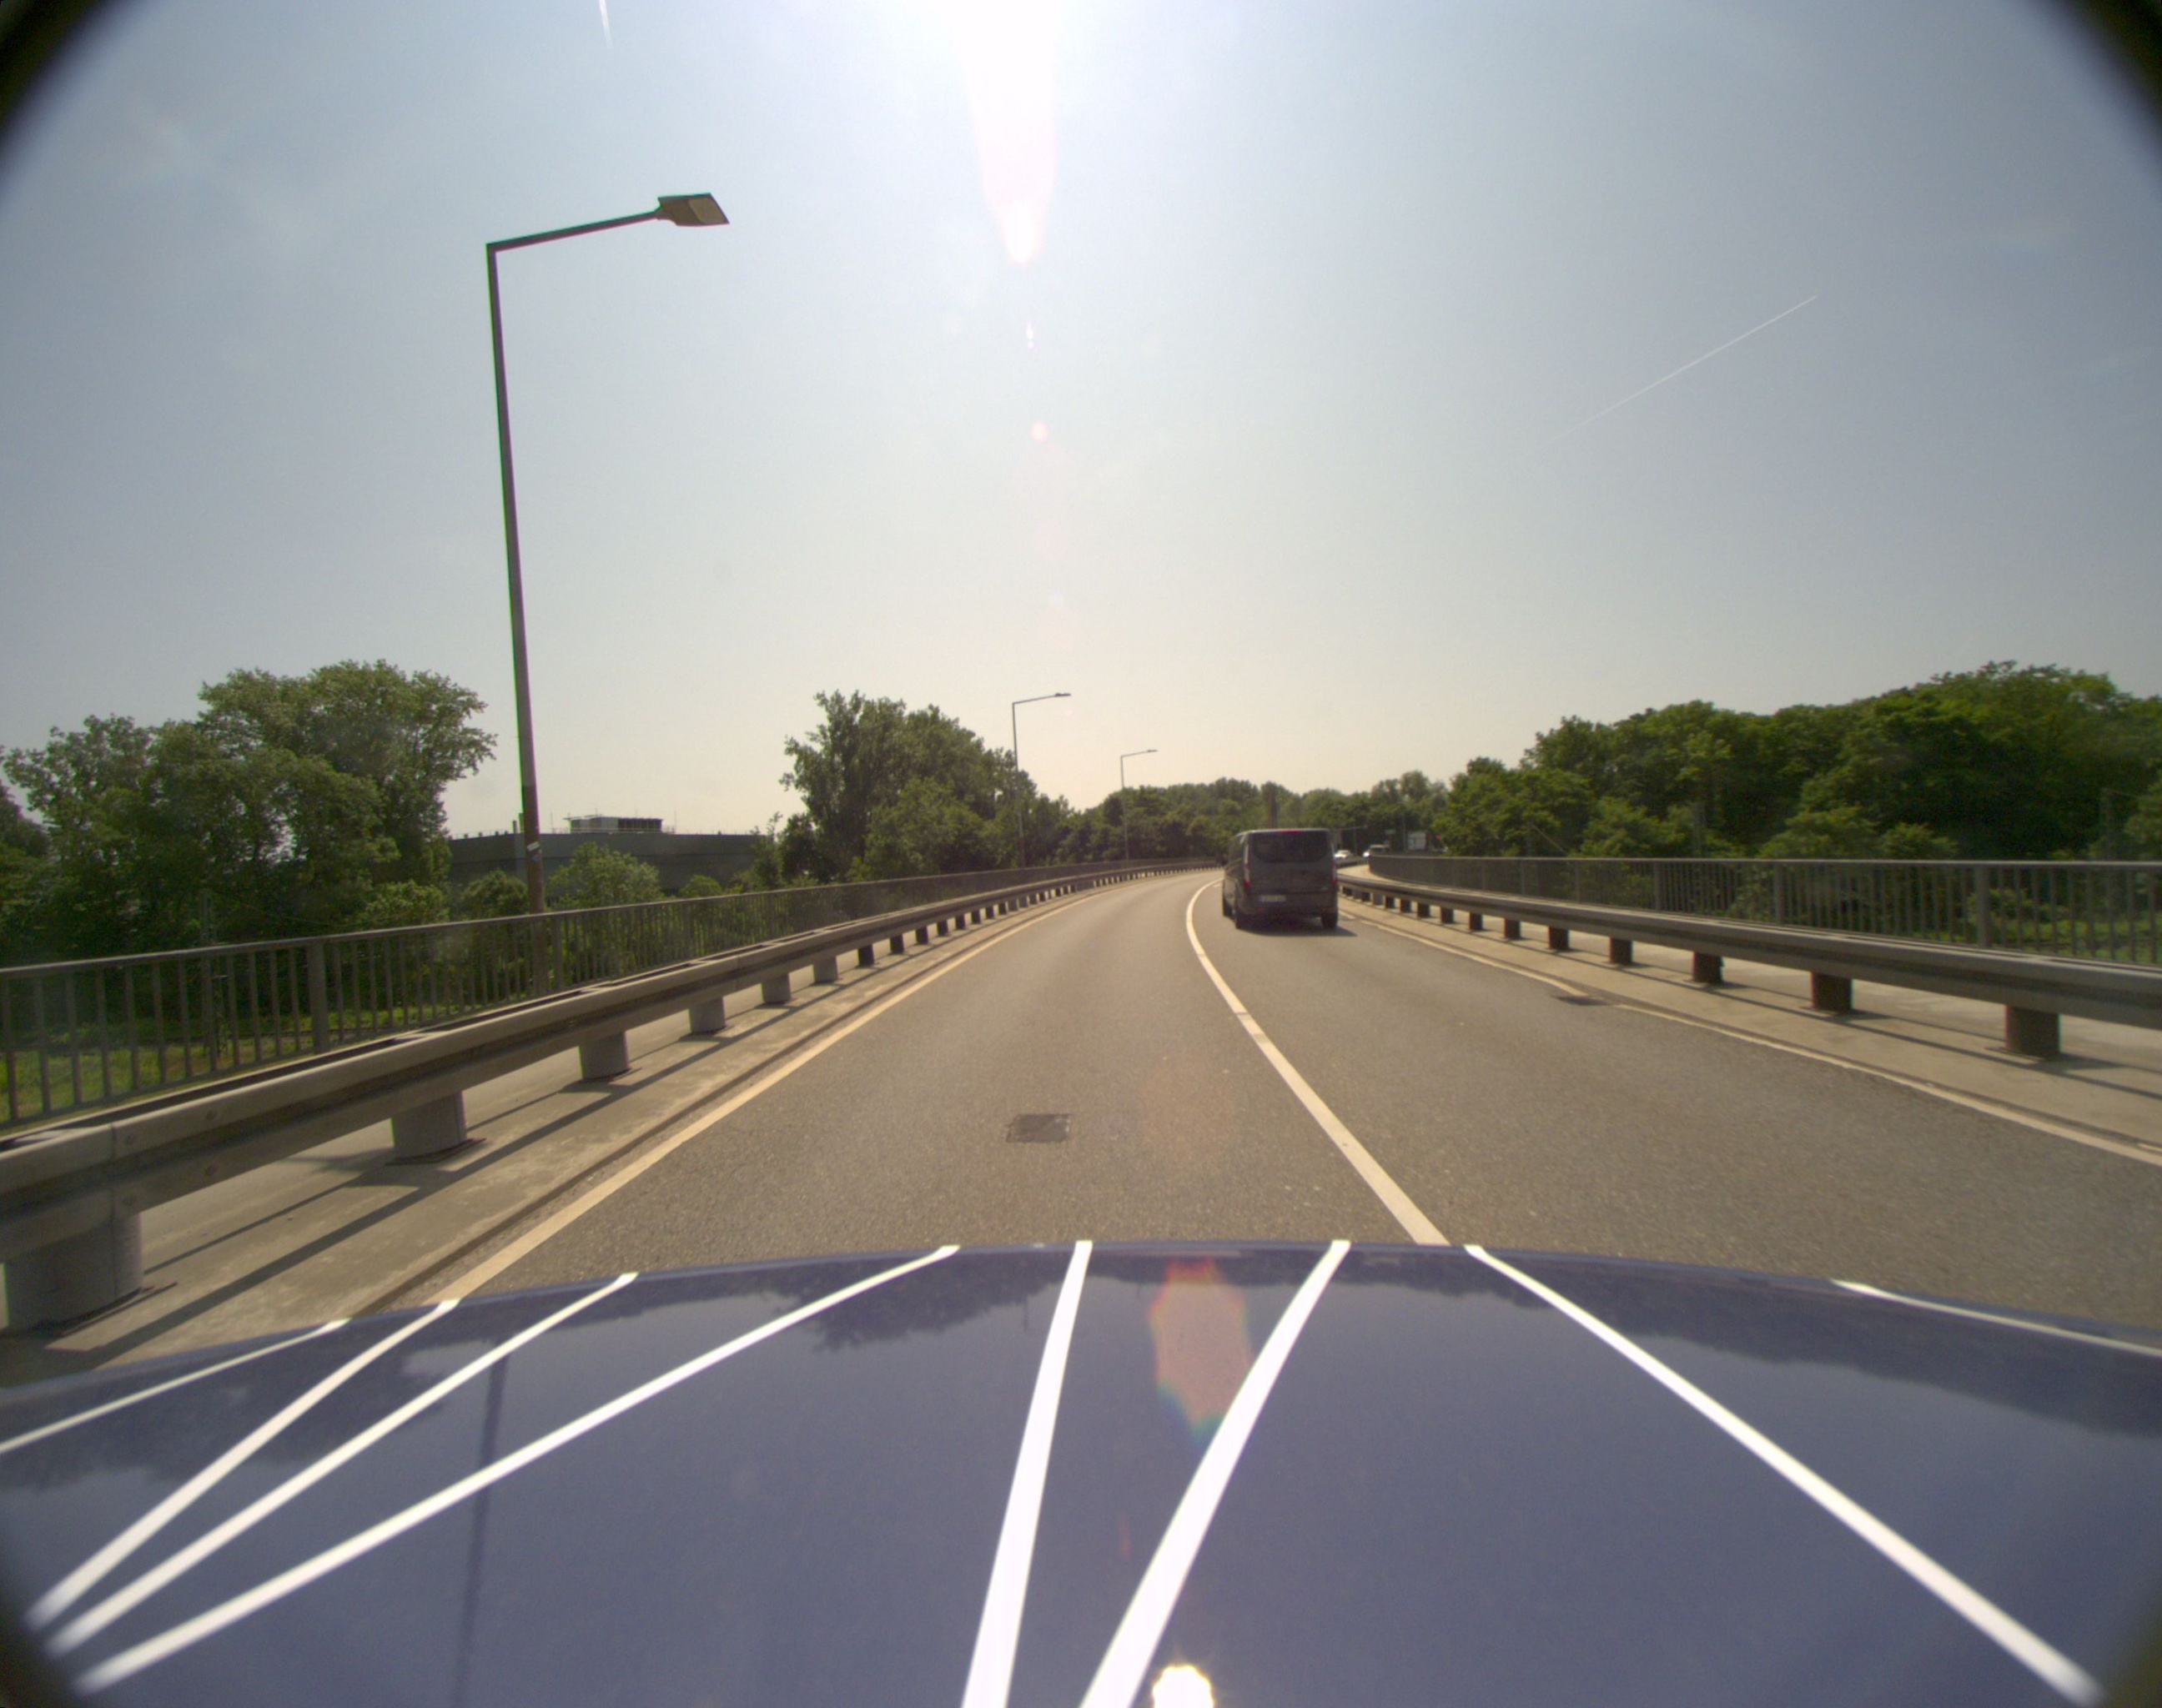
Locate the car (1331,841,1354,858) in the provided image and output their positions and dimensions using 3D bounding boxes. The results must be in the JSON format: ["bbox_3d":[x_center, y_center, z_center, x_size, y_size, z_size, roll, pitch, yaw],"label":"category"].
[{"bbox_3d":[33.482,-0.608,97.211,1.995,2.002,4.008,-2,0,31],"label":"car"}]

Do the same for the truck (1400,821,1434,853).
[{"bbox_3d":[42.726,-2.120,96.548,2.707,3.968,6.198,0,1,35],"label":"truck"}]

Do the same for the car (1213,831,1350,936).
[{"bbox_3d":[4.235,0.519,16.956,2.011,1.947,5.272,-1,1,4],"label":"car"}]

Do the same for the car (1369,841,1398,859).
[{"bbox_3d":[34.489,-0.462,86.579,1.862,1.988,4.824,-1,0,37],"label":"car"}]
